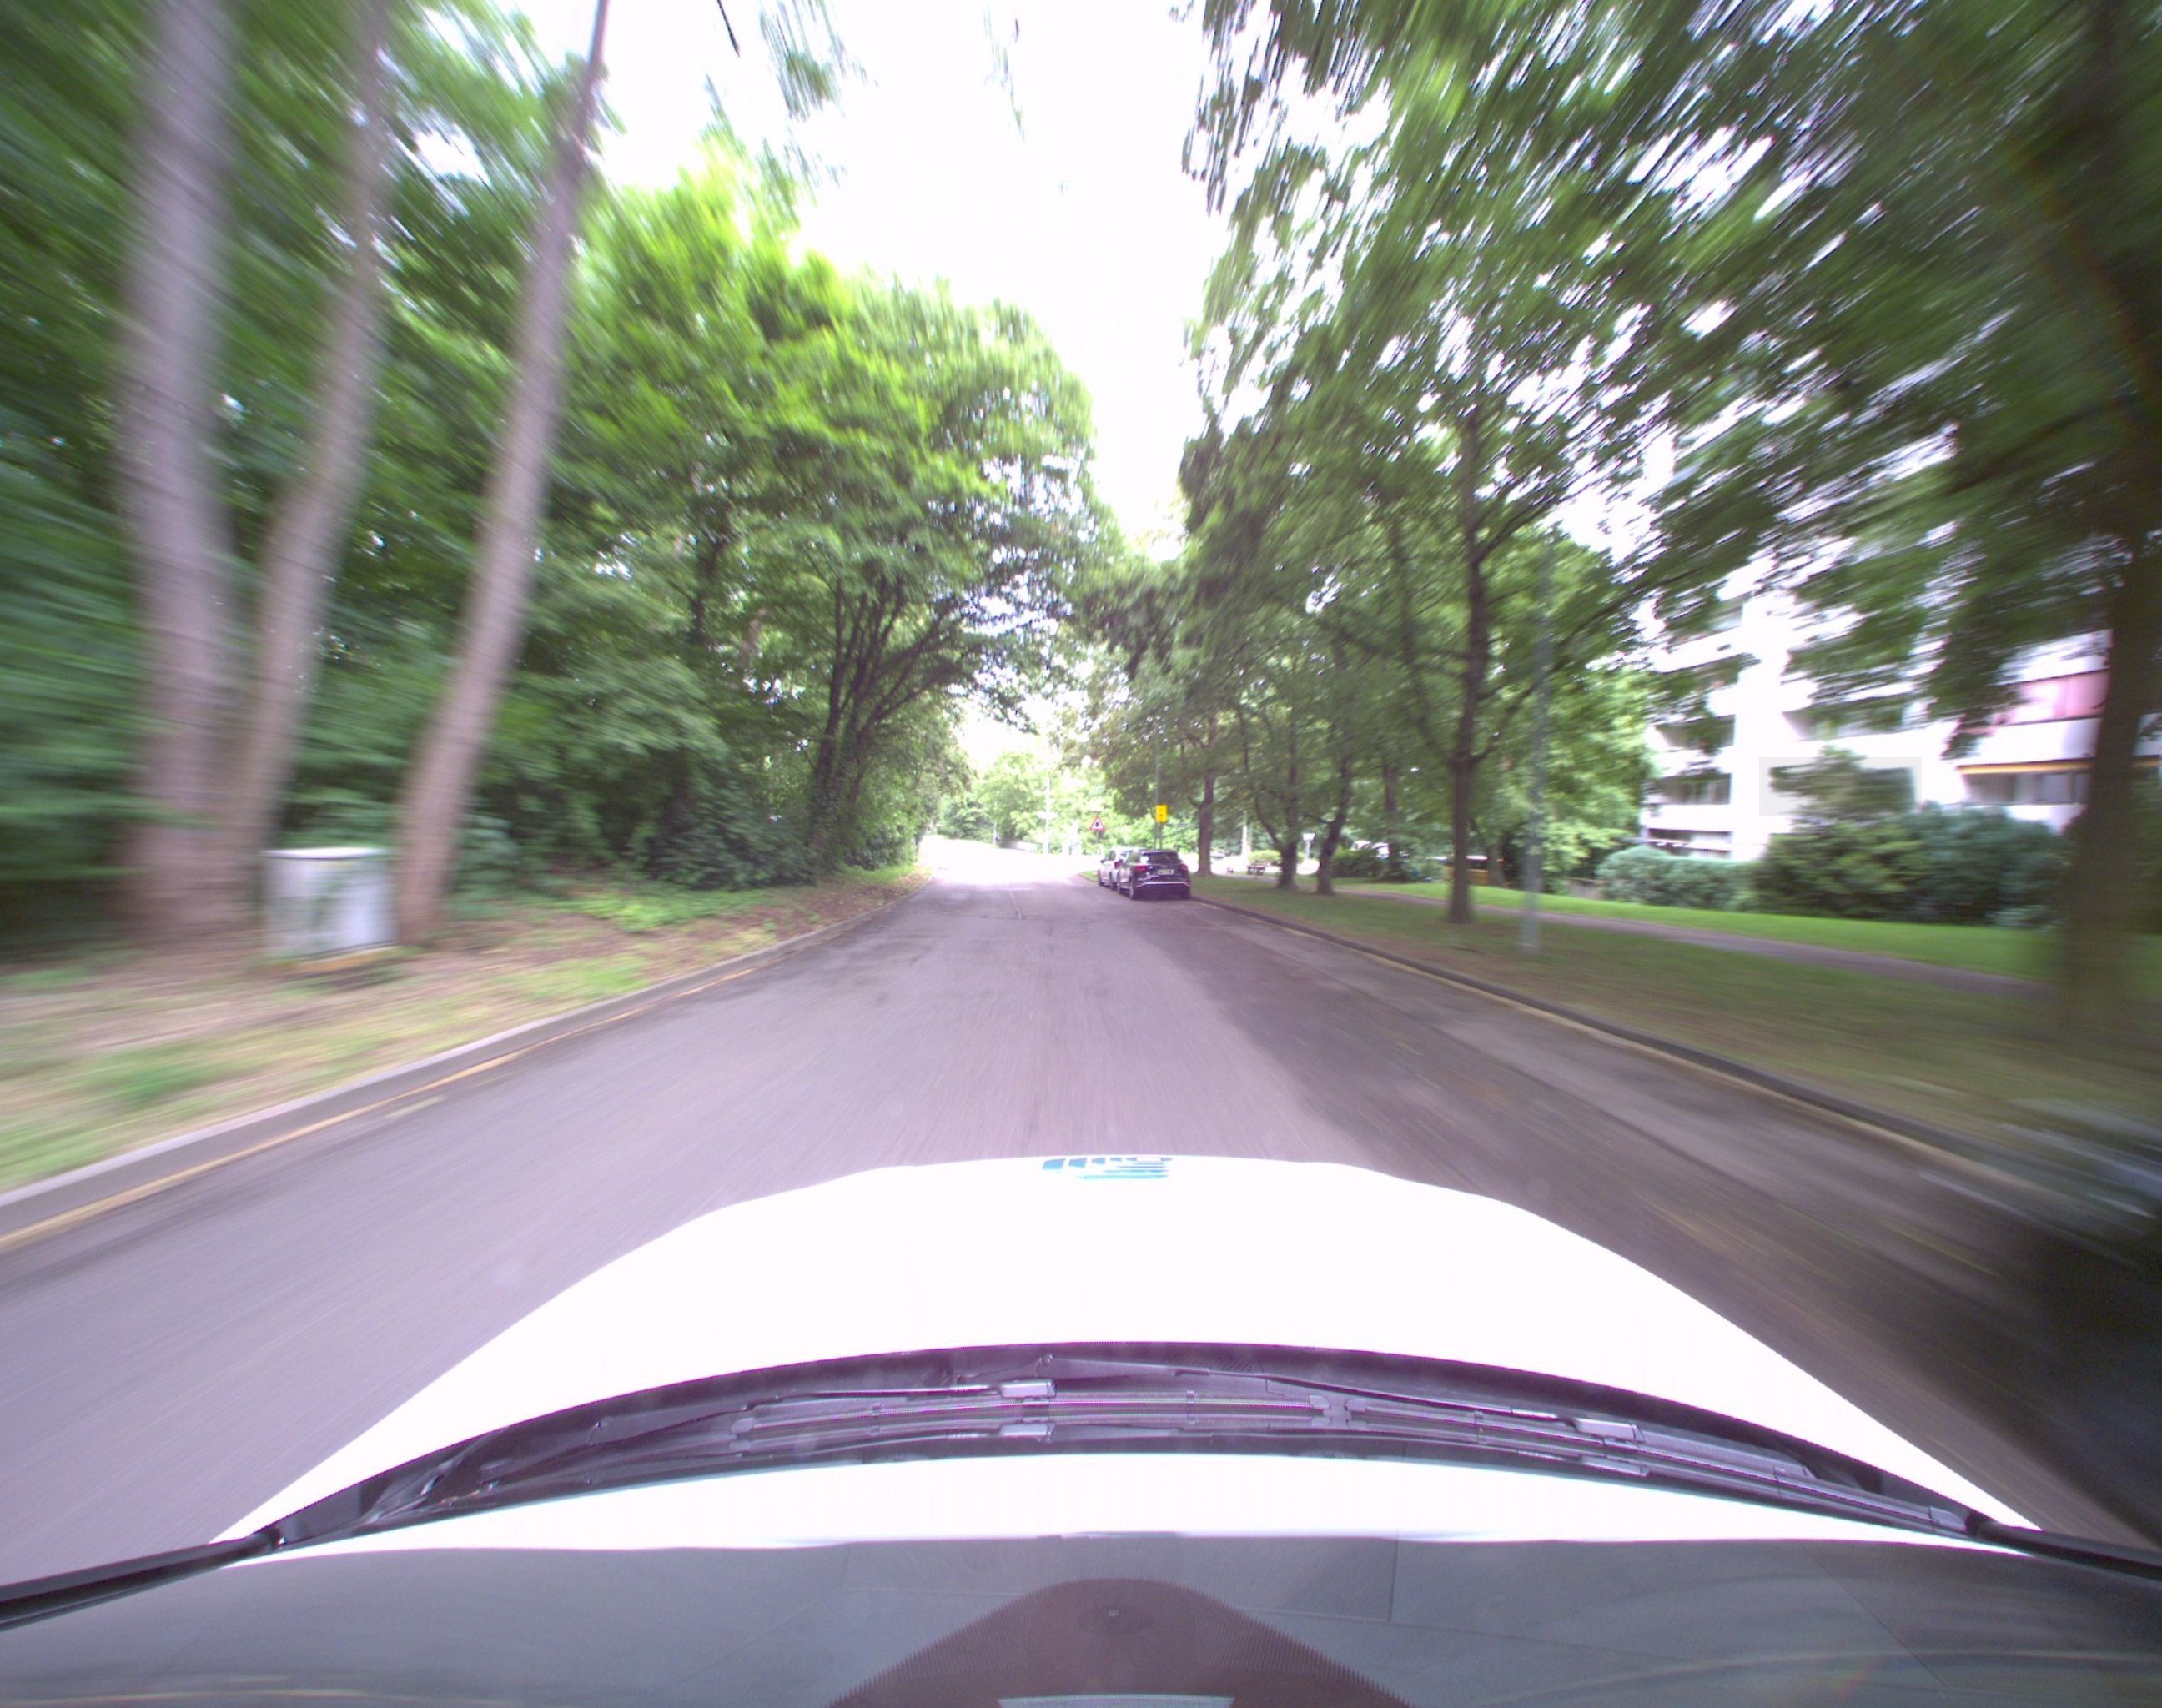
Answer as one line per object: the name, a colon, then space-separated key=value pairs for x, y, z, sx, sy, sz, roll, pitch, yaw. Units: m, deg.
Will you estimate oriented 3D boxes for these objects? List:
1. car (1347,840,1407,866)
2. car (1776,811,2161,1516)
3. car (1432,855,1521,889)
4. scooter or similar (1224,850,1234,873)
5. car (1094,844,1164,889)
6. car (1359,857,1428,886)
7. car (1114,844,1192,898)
car: x=24.160 y=-0.108 z=66.540 sx=4.195 sy=2.013 sz=1.999 roll=1 pitch=1 yaw=-2
car: x=3.098 y=0.670 z=0.689 sx=1.677 sy=1.464 sz=3.897 roll=1 pitch=1 yaw=0
car: x=23.402 y=1.040 z=48.293 sx=4.379 sy=1.848 sz=1.833 roll=1 pitch=1 yaw=2
scooter or similar: x=8.583 y=0.409 z=47.271 sx=0.282 sy=1.286 sz=1.106 roll=1 pitch=1 yaw=-4
car: x=1.697 y=0.414 z=30.123 sx=1.774 sy=1.522 sz=3.768 roll=1 pitch=1 yaw=-10
car: x=18.618 y=1.016 z=48.620 sx=3.499 sy=1.570 sz=1.835 roll=2 pitch=1 yaw=5
car: x=2.185 y=0.482 z=25.742 sx=1.771 sy=1.522 sz=4.177 roll=1 pitch=1 yaw=-5
